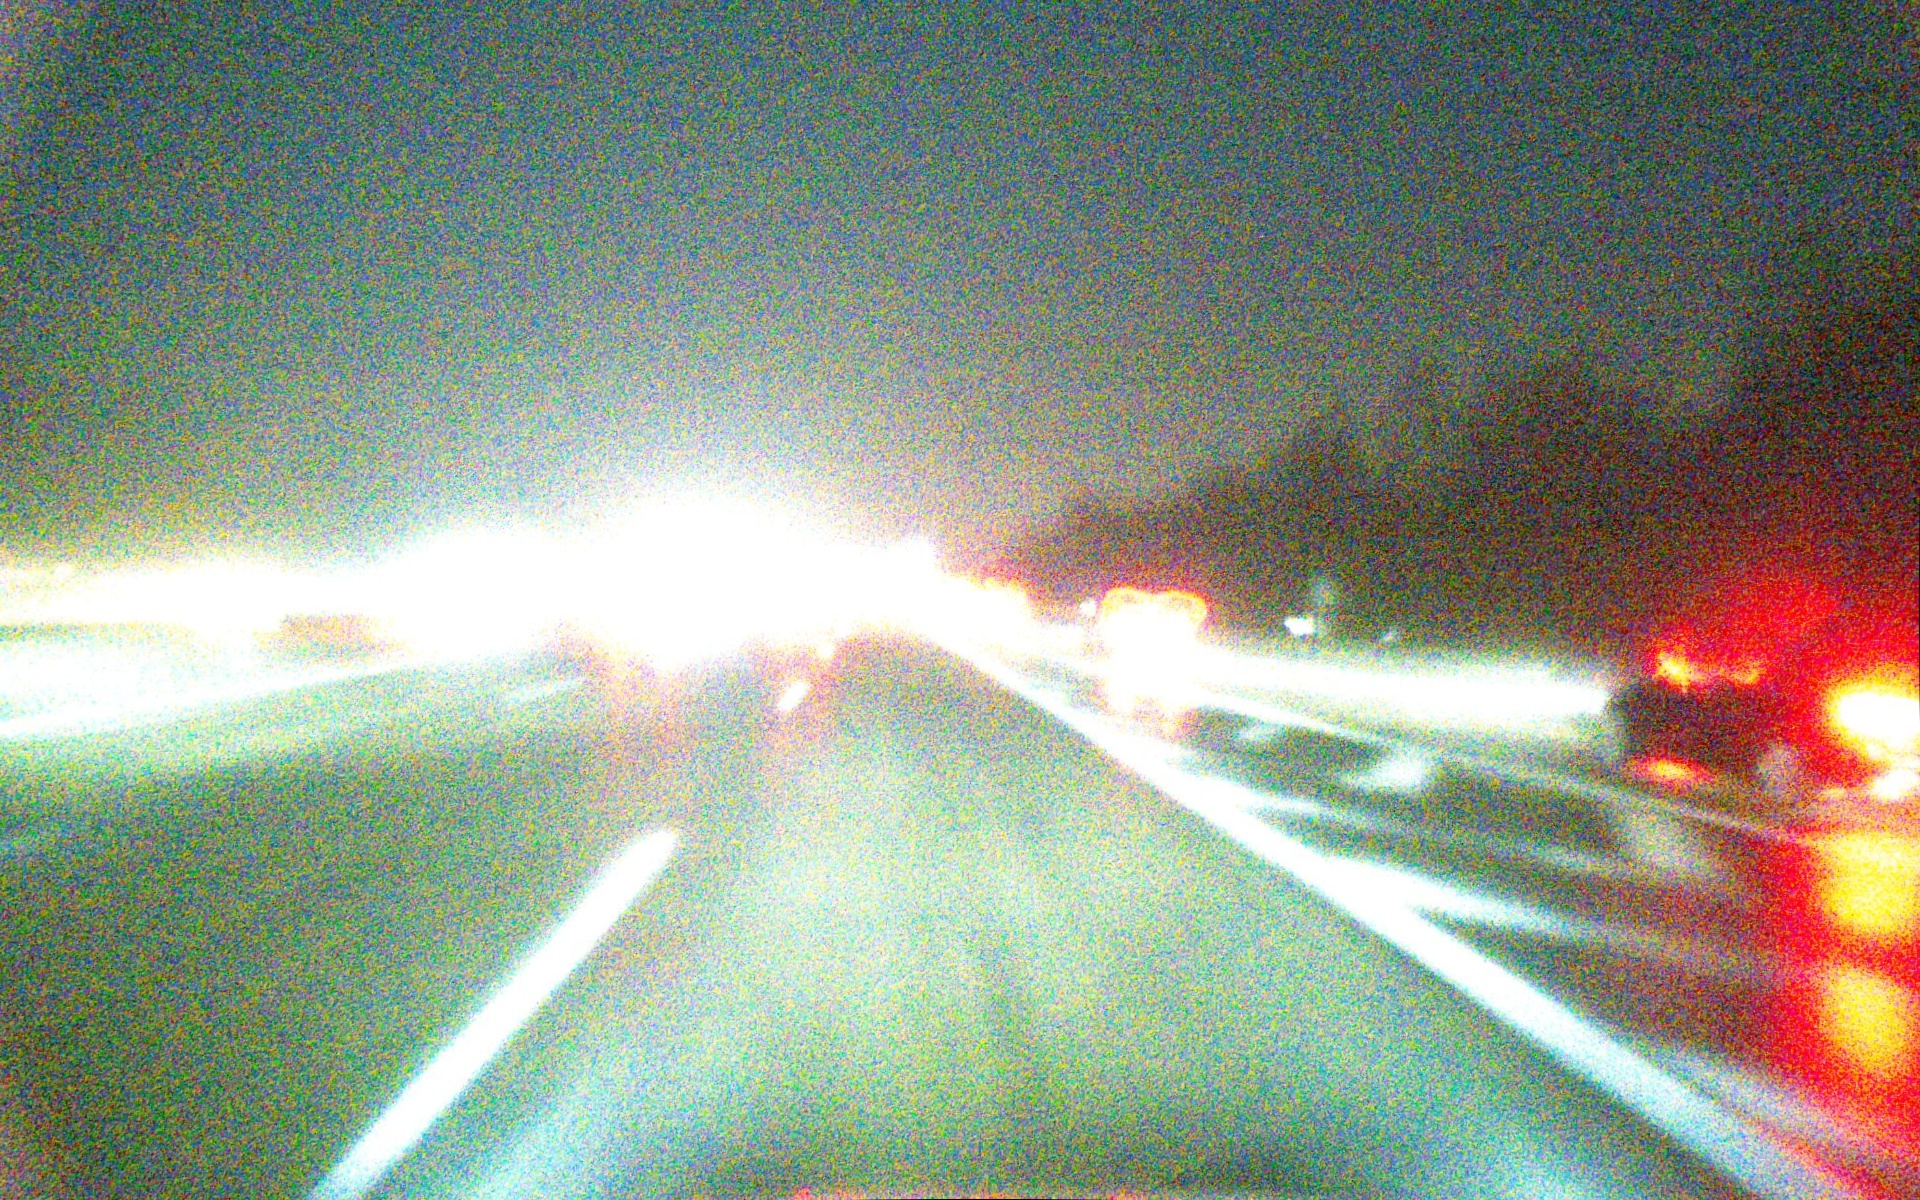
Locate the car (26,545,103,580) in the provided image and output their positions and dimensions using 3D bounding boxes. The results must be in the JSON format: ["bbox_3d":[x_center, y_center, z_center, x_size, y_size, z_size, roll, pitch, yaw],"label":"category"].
[{"bbox_3d":[-49.599,-2.059,91.716,1.749,1.819,4.272,3,0,2],"label":"car"}]

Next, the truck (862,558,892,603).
[{"bbox_3d":[-6.134,-1.407,123.108,1.953,3.096,6.462,-2,-1,-2],"label":"truck"}]

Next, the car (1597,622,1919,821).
[{"bbox_3d":[7.833,1.017,15.381,1.954,1.474,4.333,2,0,-3],"label":"car"}]

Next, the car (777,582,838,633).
[{"bbox_3d":[-4.984,0.231,54.394,1.766,1.513,3.997,3,0,-3],"label":"car"}]

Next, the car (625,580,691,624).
[{"bbox_3d":[-9.410,0.079,51.789,1.630,1.258,3.757,-2,-1,-5],"label":"car"}]

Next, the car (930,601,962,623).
[{"bbox_3d":[-0.854,0.702,97.457,1.551,1.268,3.064,2,-1,-7],"label":"car"}]

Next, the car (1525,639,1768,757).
[{"bbox_3d":[10.526,1.454,25.700,1.687,1.523,4.038,2,0,-7],"label":"car"}]

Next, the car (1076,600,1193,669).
[{"bbox_3d":[4.417,0.839,42.633,2.018,1.545,5.010,4,0,-5],"label":"car"}]

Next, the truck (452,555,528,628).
[{"bbox_3d":[-28.043,-0.450,98.937,2.757,4.076,7.343,-2,-1,-3],"label":"truck"}]

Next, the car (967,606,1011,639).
[{"bbox_3d":[1.321,1.038,76.772,1.551,1.267,3.065,4,2,-7],"label":"car"}]
